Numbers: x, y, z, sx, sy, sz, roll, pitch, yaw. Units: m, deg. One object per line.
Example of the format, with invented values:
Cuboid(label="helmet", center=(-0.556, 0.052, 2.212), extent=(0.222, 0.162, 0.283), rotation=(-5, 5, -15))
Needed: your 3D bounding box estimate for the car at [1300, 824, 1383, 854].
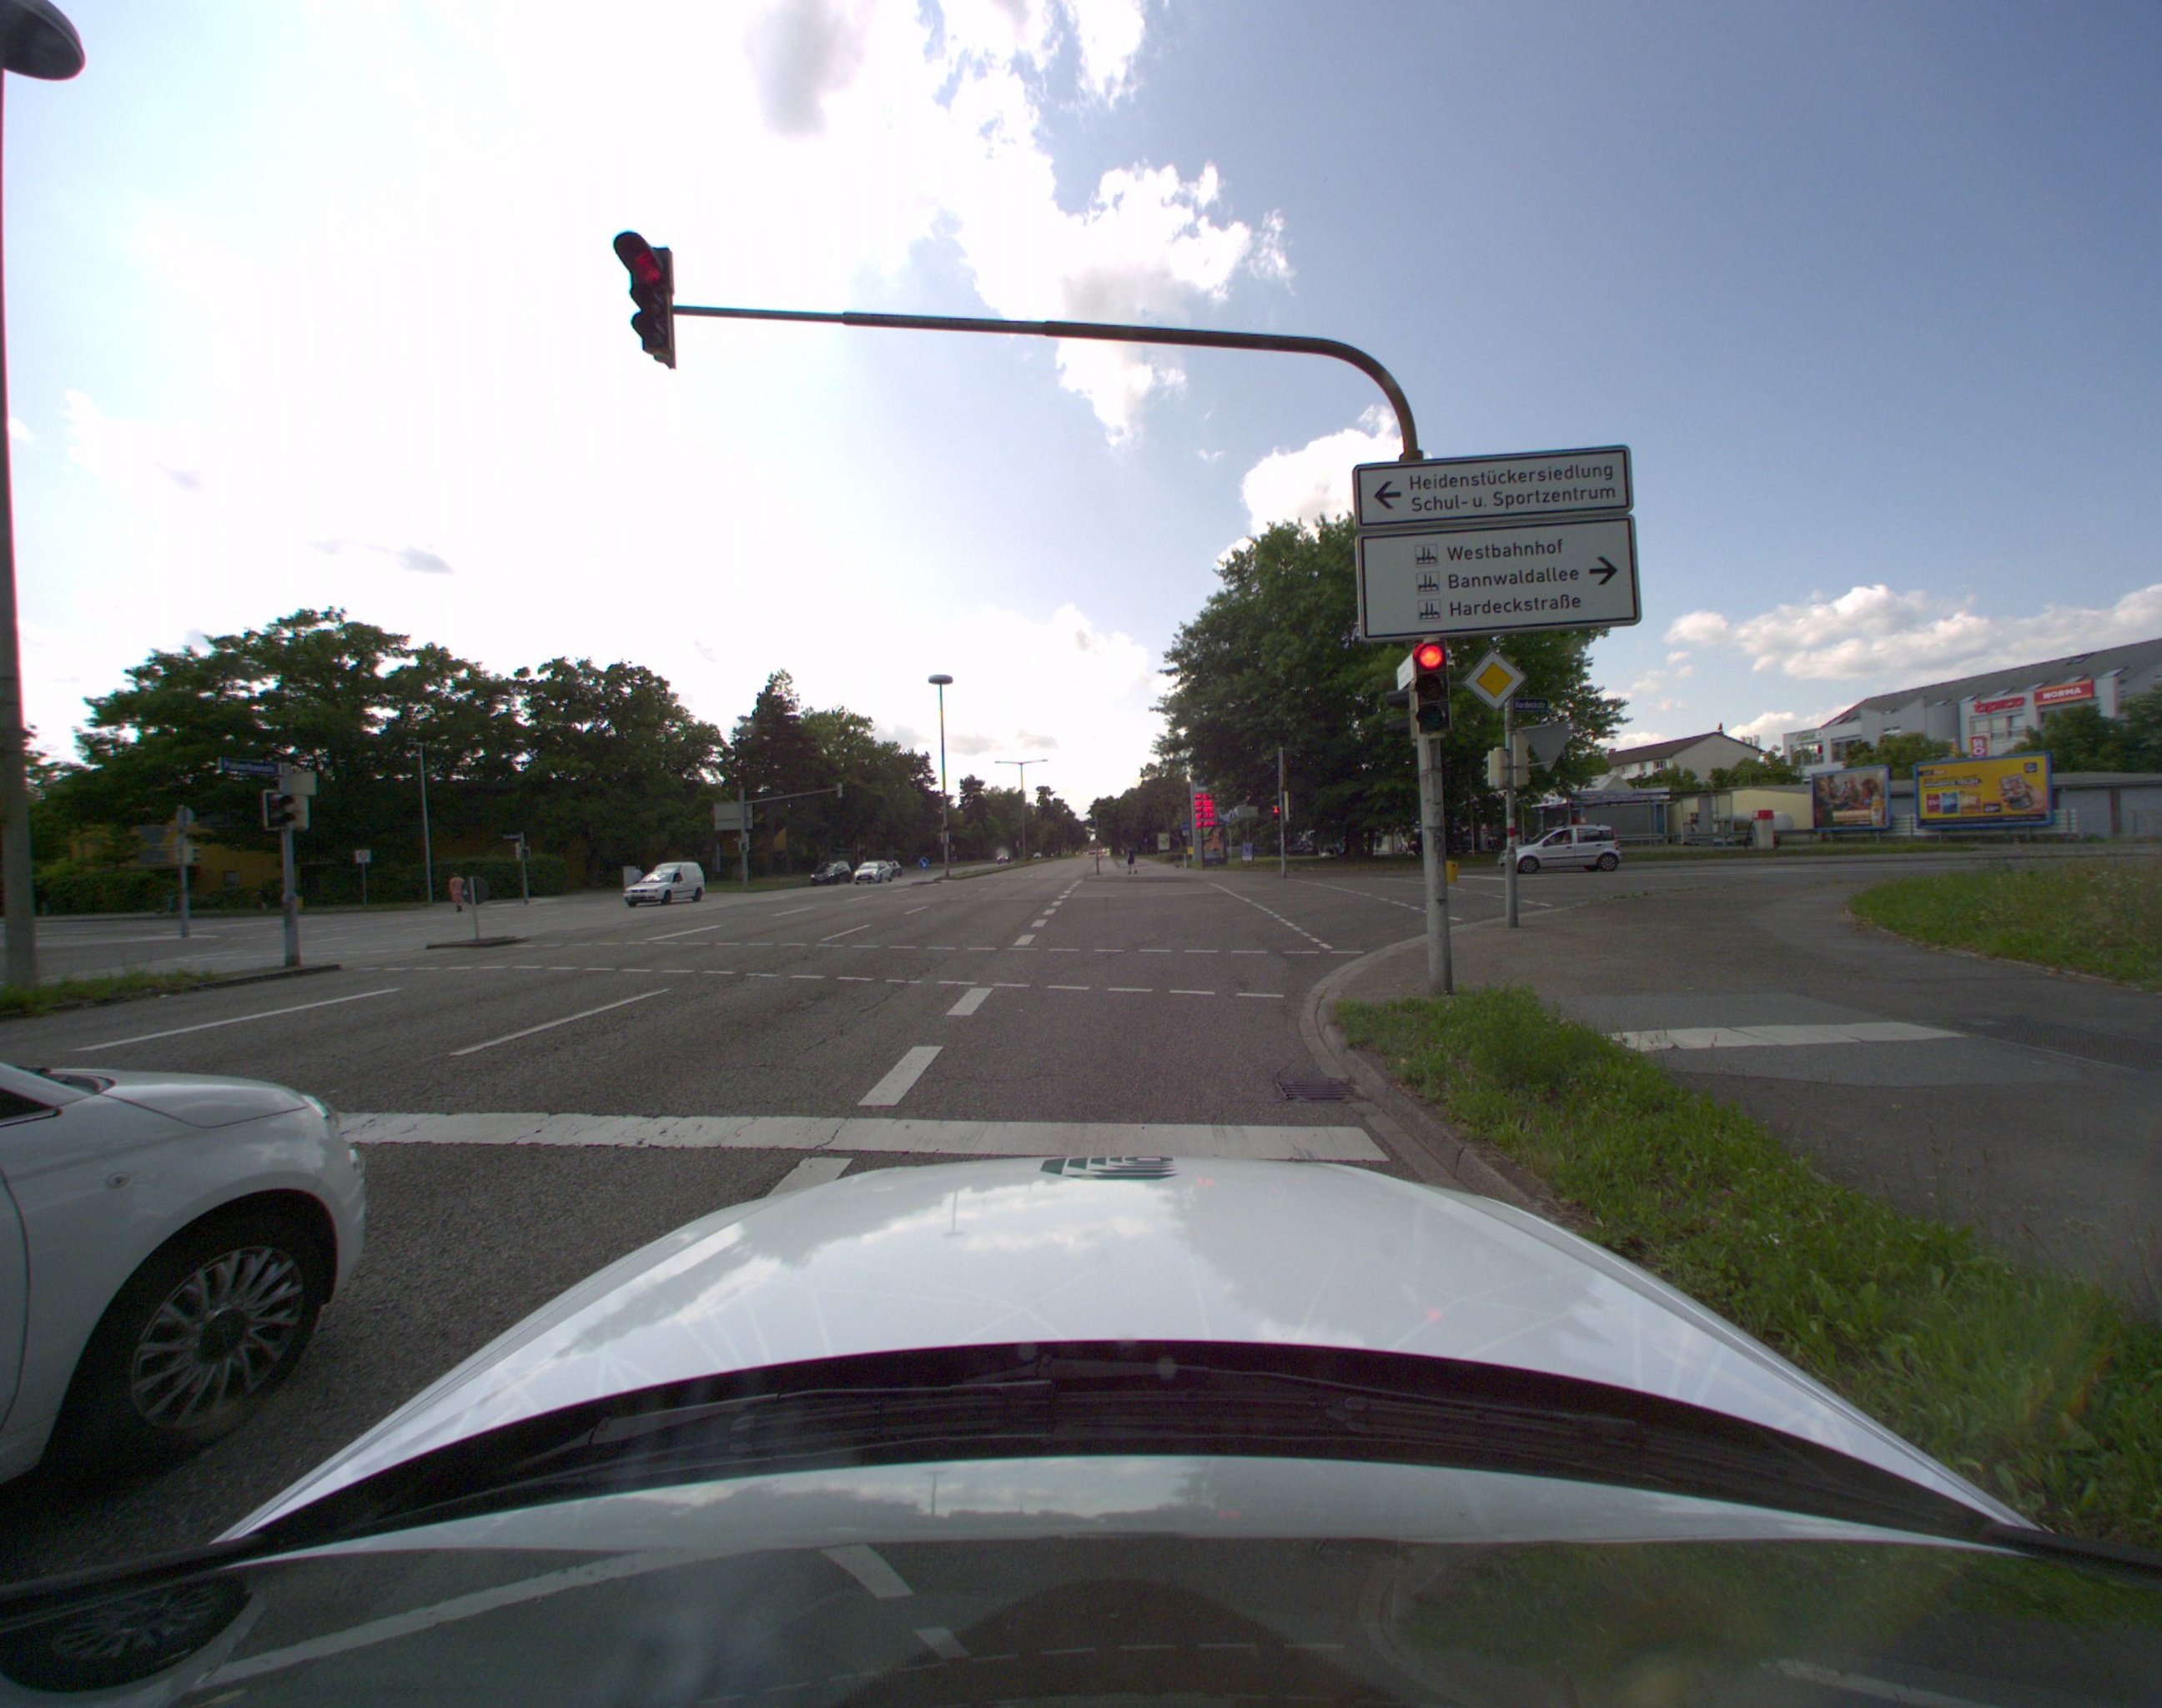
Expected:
Cuboid(label="car", center=(18.541, -1.066, 57.960), extent=(5.179, 1.826, 2.147), rotation=(-3, 0, -9))

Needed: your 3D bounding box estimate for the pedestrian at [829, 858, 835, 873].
Cuboid(label="pedestrian", center=(-26.077, 1.208, 85.373), extent=(0.570, 1.496, 0.419), rotation=(0, -1, -14))

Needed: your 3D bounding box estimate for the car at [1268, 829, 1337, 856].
Cuboid(label="car", center=(18.728, -0.974, 68.895), extent=(5.167, 2.004, 2.152), rotation=(-3, 0, -2))

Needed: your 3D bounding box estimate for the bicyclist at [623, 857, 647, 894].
Cuboid(label="bicyclist", center=(-24.951, 1.201, 45.572), extent=(0.749, 2.013, 0.831), rotation=(-3, 0, -1))

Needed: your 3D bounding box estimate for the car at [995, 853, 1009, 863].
Cuboid(label="car", center=(-12.271, 0.566, 126.451), extent=(1.766, 1.465, 4.454), rotation=(-3, 0, -1))

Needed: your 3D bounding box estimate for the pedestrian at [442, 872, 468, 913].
Cuboid(label="pedestrian", center=(-27.166, 1.660, 35.327), extent=(0.696, 1.742, 0.697), rotation=(-3, 0, 39))

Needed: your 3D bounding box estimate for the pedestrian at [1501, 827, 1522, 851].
Cuboid(label="pedestrian", center=(21.893, -0.748, 41.446), extent=(0.649, 1.190, 0.757), rotation=(0, -1, -42))

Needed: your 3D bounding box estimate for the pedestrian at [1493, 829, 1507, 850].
Cuboid(label="pedestrian", center=(30.887, -1.078, 60.027), extent=(0.650, 1.544, 0.625), rotation=(-3, 0, 8))

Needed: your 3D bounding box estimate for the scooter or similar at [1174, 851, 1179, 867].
Cuboid(label="scooter or similar", center=(6.081, 0.331, 51.924), extent=(0.220, 0.979, 1.273), rotation=(-3, 0, 2))

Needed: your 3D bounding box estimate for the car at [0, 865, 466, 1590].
Cuboid(label="car", center=(-3.049, 0.782, 1.162), extent=(1.564, 1.497, 3.541), rotation=(0, -1, 2))

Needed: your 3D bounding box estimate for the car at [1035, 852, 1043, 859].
Cuboid(label="car", center=(-11.900, 0.392, 228.545), extent=(1.854, 1.705, 4.456), rotation=(-3, 0, 1))

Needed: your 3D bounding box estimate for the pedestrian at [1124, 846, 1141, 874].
Cuboid(label="pedestrian", center=(2.879, 0.327, 45.585), extent=(0.726, 1.531, 0.756), rotation=(-3, 0, -15))

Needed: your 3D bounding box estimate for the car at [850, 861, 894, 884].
Cuboid(label="car", center=(-13.773, 1.187, 53.826), extent=(1.746, 1.308, 3.695), rotation=(-4, -1, 2))

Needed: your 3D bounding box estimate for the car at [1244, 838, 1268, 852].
Cuboid(label="car", center=(18.784, -0.970, 87.613), extent=(1.744, 1.454, 3.741), rotation=(-3, 0, 0))

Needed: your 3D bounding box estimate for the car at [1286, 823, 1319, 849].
Cuboid(label="car", center=(22.924, -1.831, 84.597), extent=(1.744, 2.453, 5.750), rotation=(-3, 0, 0))

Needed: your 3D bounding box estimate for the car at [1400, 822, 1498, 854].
Cuboid(label="car", center=(20.592, -0.886, 45.653), extent=(4.548, 1.596, 2.147), rotation=(-3, 0, -9))

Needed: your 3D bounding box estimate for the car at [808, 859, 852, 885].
Cuboid(label="car", center=(-17.837, 1.241, 58.074), extent=(1.664, 1.742, 4.312), rotation=(-2, -1, 2))

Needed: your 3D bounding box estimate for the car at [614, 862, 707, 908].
Cuboid(label="car", center=(-18.021, 1.269, 35.133), extent=(1.664, 1.794, 4.256), rotation=(-2, -1, 2))

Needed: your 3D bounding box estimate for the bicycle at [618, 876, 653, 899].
Cuboid(label="bicycle", center=(-24.925, 1.863, 45.621), extent=(0.752, 1.119, 2.114), rotation=(-3, 0, 0))

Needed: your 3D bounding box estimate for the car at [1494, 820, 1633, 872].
Cuboid(label="car", center=(15.580, -0.246, 26.472), extent=(3.571, 1.517, 1.565), rotation=(-2, 0, 14))

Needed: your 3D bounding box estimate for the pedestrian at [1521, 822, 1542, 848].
Cuboid(label="pedestrian", center=(22.584, -0.929, 40.834), extent=(0.649, 1.255, 0.757), rotation=(0, -1, -42))
